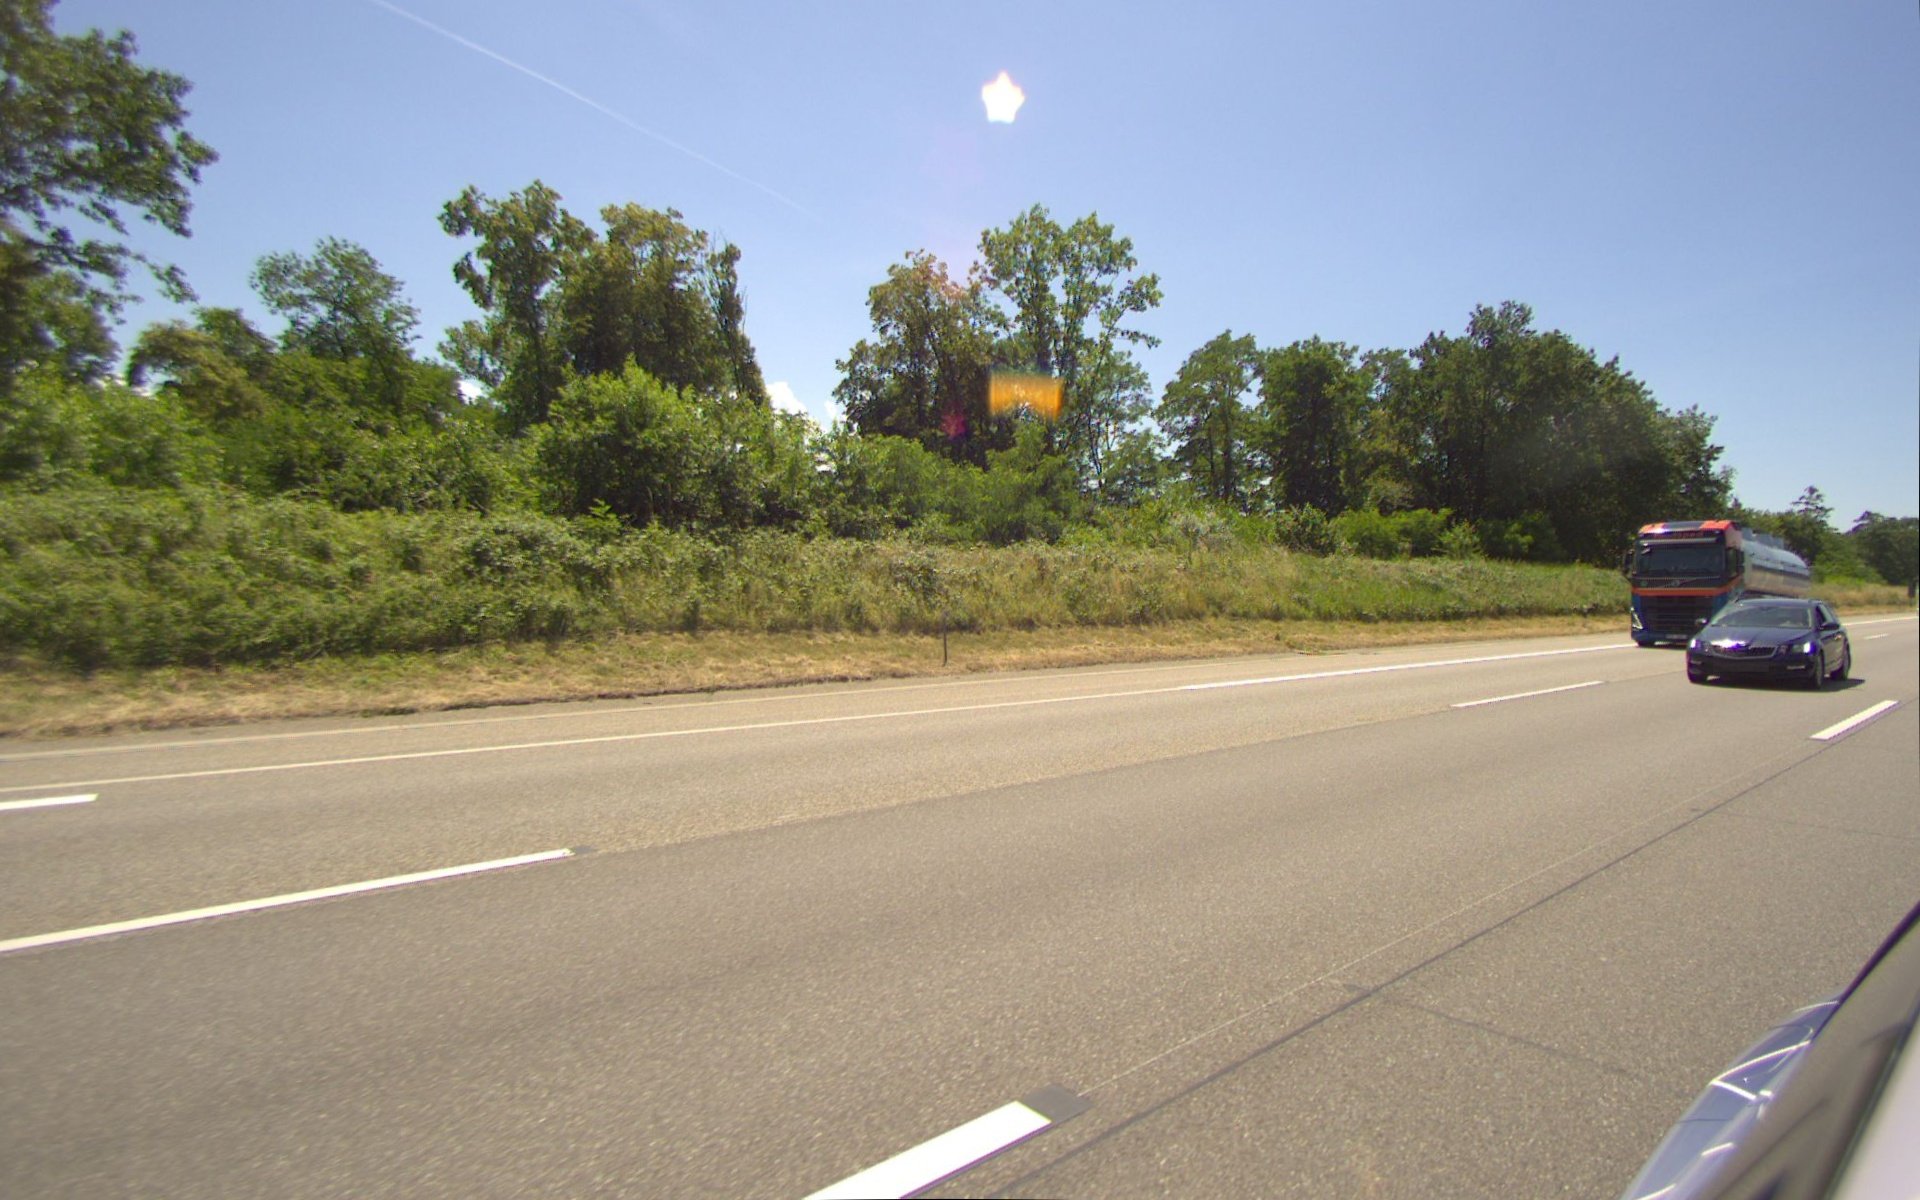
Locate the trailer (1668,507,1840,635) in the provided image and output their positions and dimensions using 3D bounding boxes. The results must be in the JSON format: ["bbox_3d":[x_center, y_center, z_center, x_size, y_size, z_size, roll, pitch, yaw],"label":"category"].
[{"bbox_3d":[27.438,-0.896,34.687,11.347,3.781,2.533,0,0,-41],"label":"trailer"}]

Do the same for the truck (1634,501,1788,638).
[{"bbox_3d":[22.860,-0.860,30.701,5.992,3.781,2.533,0,0,-41],"label":"truck"}]

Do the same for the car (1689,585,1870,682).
[{"bbox_3d":[14.402,0.505,17.715,4.198,1.502,1.804,0,0,-42],"label":"car"}]
